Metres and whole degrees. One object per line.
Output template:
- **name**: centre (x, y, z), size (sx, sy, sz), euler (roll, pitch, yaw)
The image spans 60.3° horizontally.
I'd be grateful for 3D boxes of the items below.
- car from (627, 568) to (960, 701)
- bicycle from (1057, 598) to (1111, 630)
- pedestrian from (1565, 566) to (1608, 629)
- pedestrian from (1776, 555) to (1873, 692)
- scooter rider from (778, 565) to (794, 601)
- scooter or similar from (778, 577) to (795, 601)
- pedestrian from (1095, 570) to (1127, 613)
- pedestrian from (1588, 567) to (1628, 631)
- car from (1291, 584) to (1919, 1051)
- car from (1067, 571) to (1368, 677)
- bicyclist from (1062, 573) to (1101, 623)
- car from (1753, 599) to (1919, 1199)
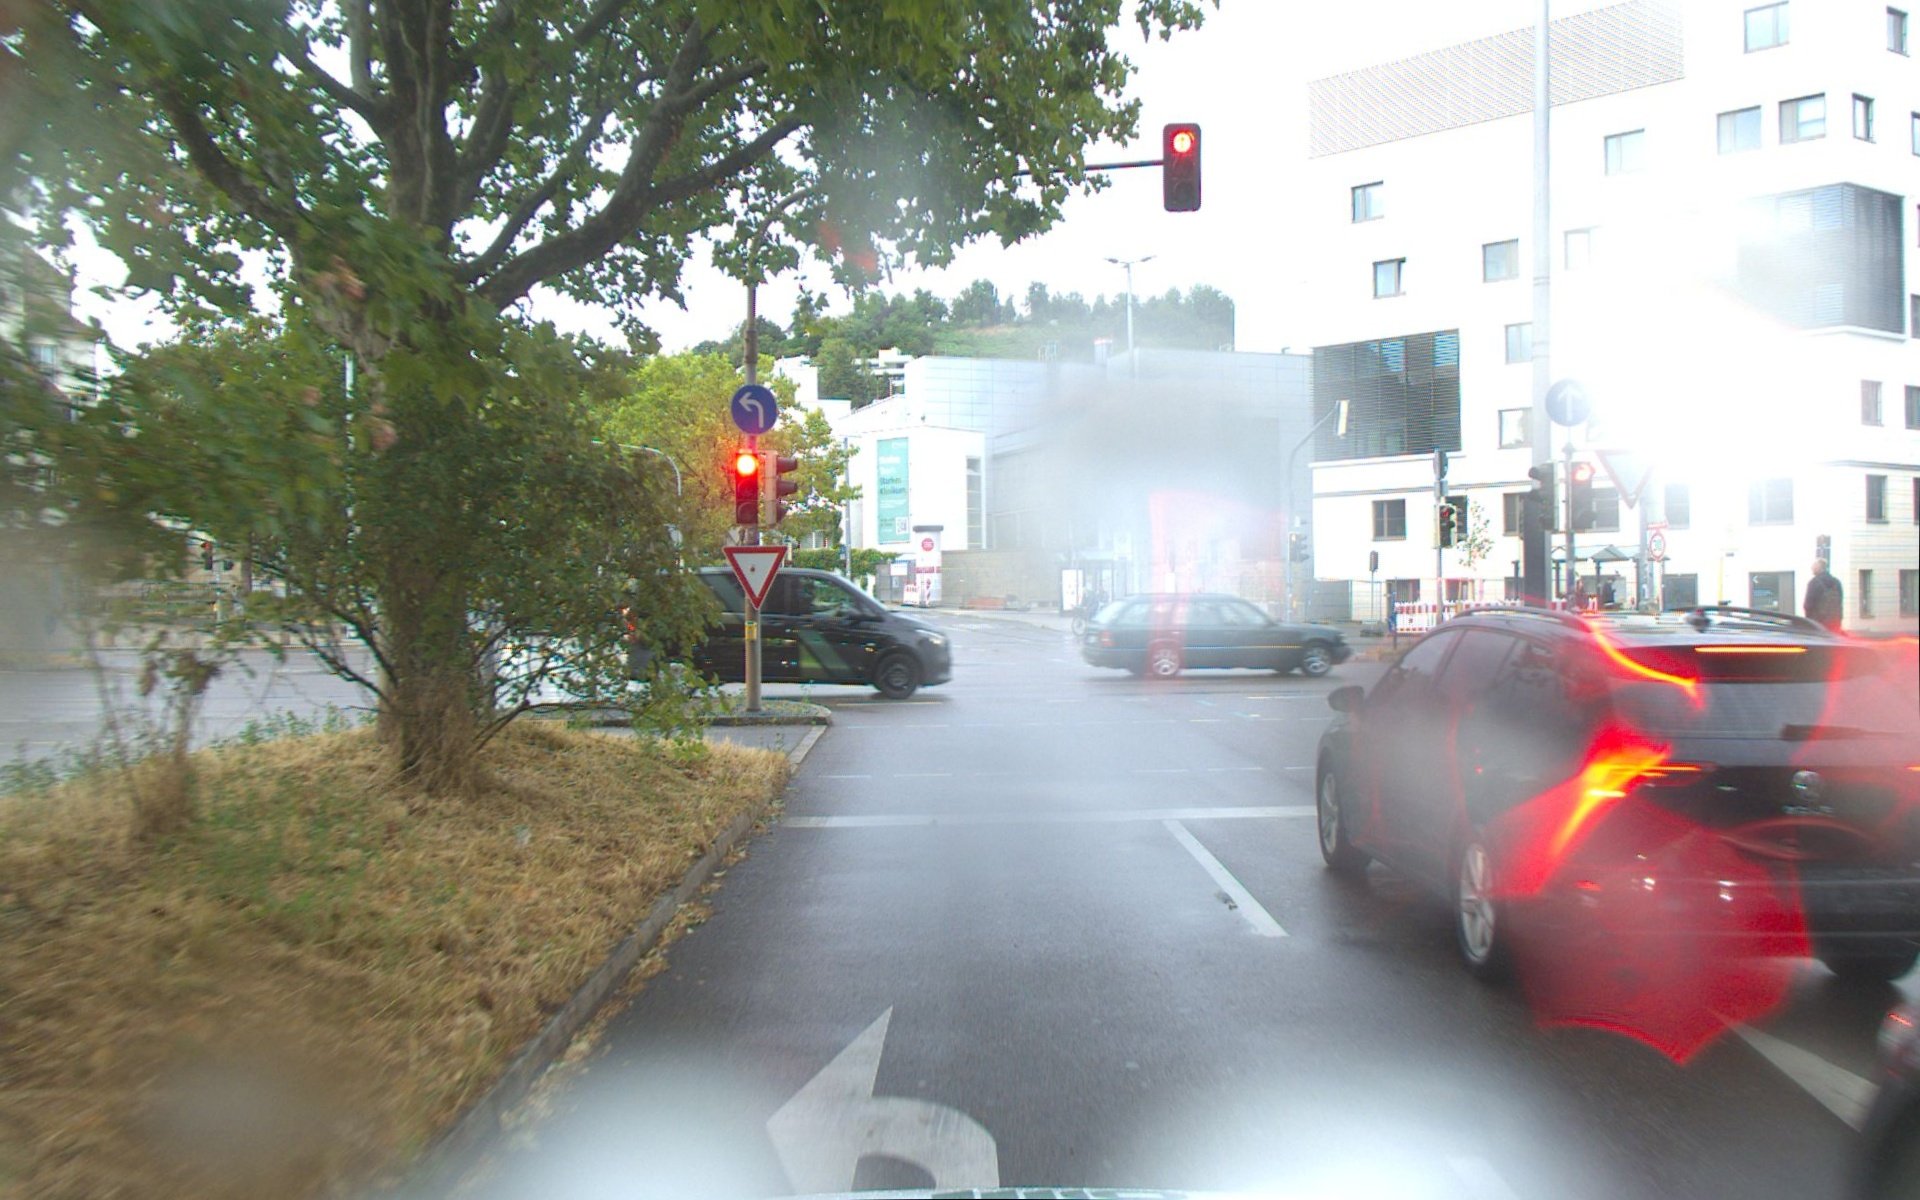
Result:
- **car**: centre (-2.452, 0.471, 24.295), size (4.683, 1.841, 1.996), euler (0, 0, -9)
- **bicycle**: centre (4.203, 0.473, 56.110), size (1.798, 1.075, 0.641), euler (0, -1, -33)
- **pedestrian**: centre (18.933, -0.072, 49.990), size (0.934, 1.872, 0.821), euler (1, -1, -11)
- **pedestrian**: centre (12.531, 0.344, 23.992), size (0.812, 1.925, 1.025), euler (1, -1, -8)
- **scooter rider**: centre (-9.502, -0.921, 90.514), size (0.713, 1.916, 0.628), euler (1, -1, -20)
- **scooter or similar**: centre (-9.481, -0.591, 90.463), size (0.582, 1.260, 1.305), euler (1, -1, -21)
- **pedestrian**: centre (6.349, -0.353, 69.542), size (1.232, 1.749, 1.016), euler (1, -1, -1)
- **pedestrian**: centre (20.365, -0.025, 51.988), size (0.980, 1.969, 0.955), euler (1, -1, 10)
- **car**: centre (2.858, 0.693, 7.706), size (1.636, 1.491, 4.512), euler (0, 1, -1)
- **car**: centre (4.504, 0.410, 29.270), size (4.865, 1.702, 1.995), euler (-1, 0, -10)
- **bicyclist**: centre (4.124, -0.064, 56.069), size (1.114, 1.661, 0.694), euler (2, -2, -32)
- **car**: centre (2.501, 0.754, 0.920), size (1.840, 1.471, 4.931), euler (1, 0, 1)
